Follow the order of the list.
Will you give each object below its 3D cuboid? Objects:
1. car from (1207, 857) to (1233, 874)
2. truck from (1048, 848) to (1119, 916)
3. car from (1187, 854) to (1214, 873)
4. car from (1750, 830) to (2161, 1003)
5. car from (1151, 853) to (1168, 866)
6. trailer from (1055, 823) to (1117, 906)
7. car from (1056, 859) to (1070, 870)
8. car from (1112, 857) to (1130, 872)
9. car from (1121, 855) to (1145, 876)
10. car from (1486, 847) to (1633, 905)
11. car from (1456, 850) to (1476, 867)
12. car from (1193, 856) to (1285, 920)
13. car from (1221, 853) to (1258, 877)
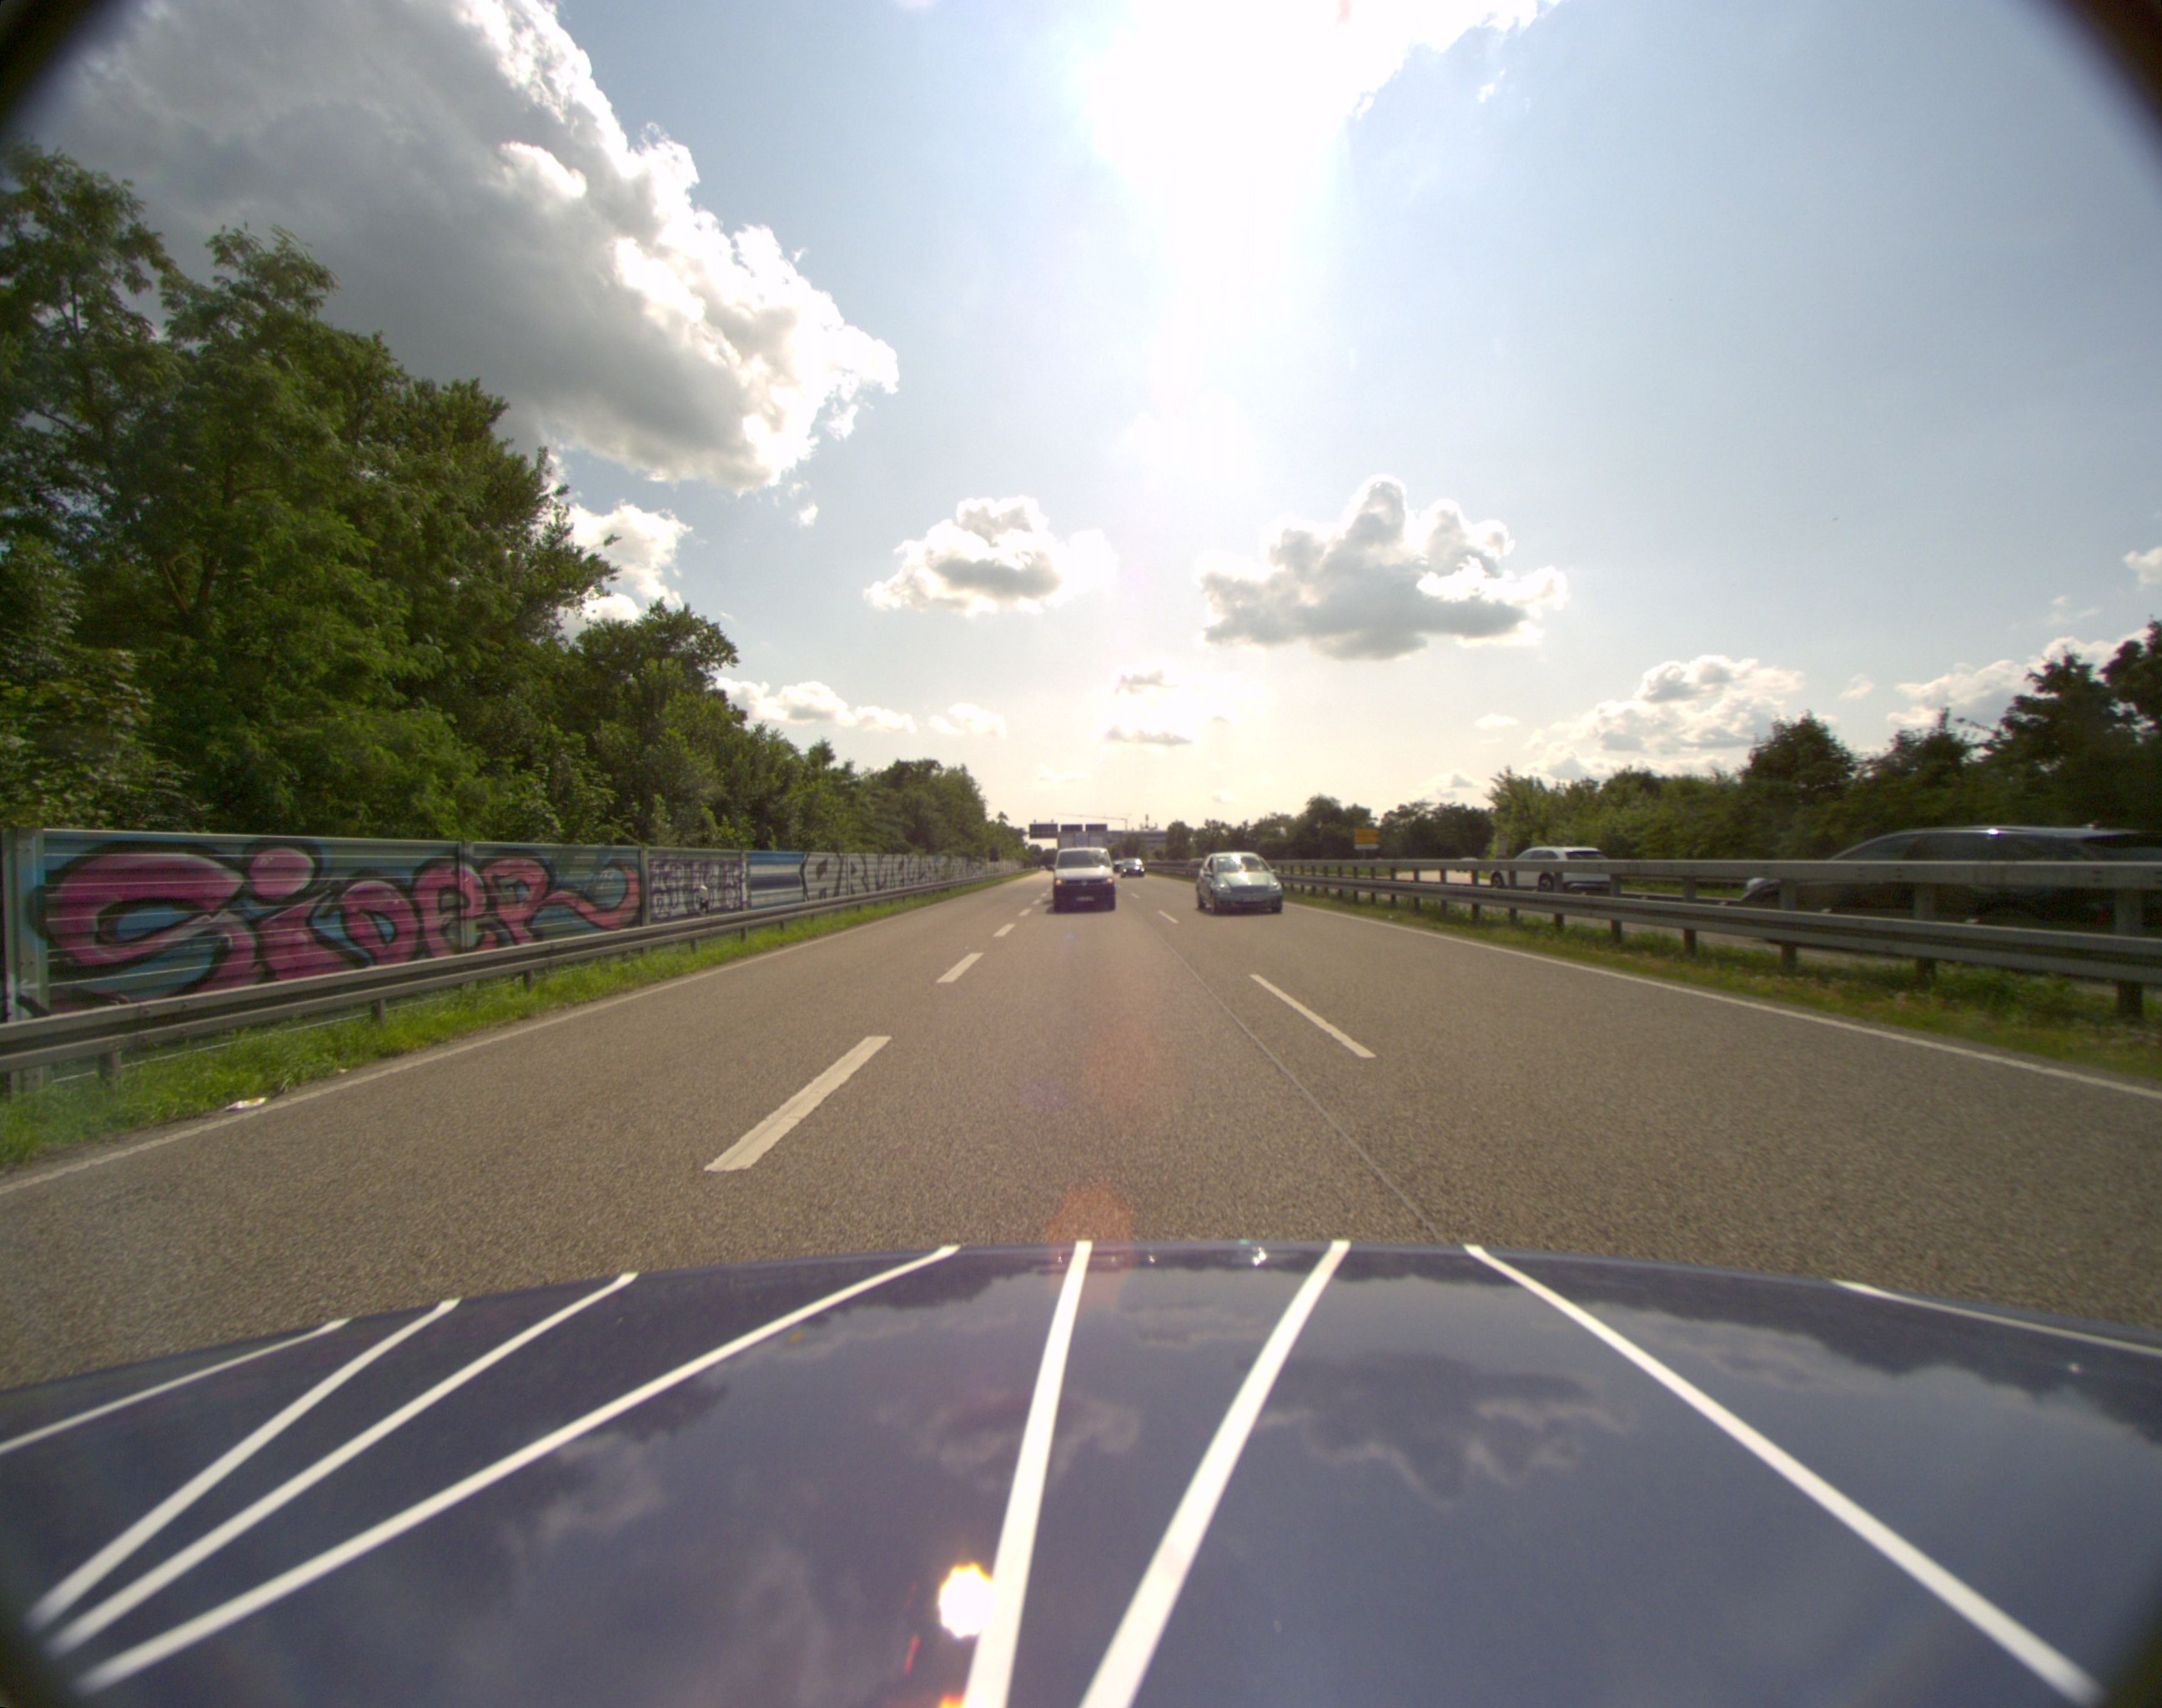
[{"bbox_3d":[14.899,1.168,81.498,1.966,1.636,4.550,-3,1,1],"label":"car"},{"bbox_3d":[0.128,0.813,23.985,2.008,1.905,4.000,-2,0,1],"label":"truck"},{"bbox_3d":[11.434,0.922,72.985,1.966,1.636,4.550,-3,1,1],"label":"car"},{"bbox_3d":[10.996,0.562,9.289,1.998,1.587,4.132,-3,1,1],"label":"car"},{"bbox_3d":[11.258,0.807,109.189,1.966,1.636,4.550,-3,1,1],"label":"car"},{"bbox_3d":[0.214,0.333,29.031,1.998,2.723,5.967,-3,1,1],"label":"trailer"},{"bbox_3d":[-2.545,1.476,110.524,1.768,1.403,3.771,-3,1,2],"label":"car"},{"bbox_3d":[4.139,1.086,79.216,1.625,1.403,3.770,-3,1,-1],"label":"car"},{"bbox_3d":[4.281,0.928,63.041,1.716,1.518,4.592,-3,1,2],"label":"car"},{"bbox_3d":[15.447,0.627,24.883,1.966,1.636,4.550,-3,1,1],"label":"car"},{"bbox_3d":[38.342,0.442,75.641,1.725,1.517,4.006,-2,1,28],"label":"car"},{"bbox_3d":[4.215,0.838,20.870,1.752,1.522,4.000,-2,0,1],"label":"car"},{"bbox_3d":[11.443,0.764,55.233,1.692,1.636,4.269,-3,1,-1],"label":"car"}]
